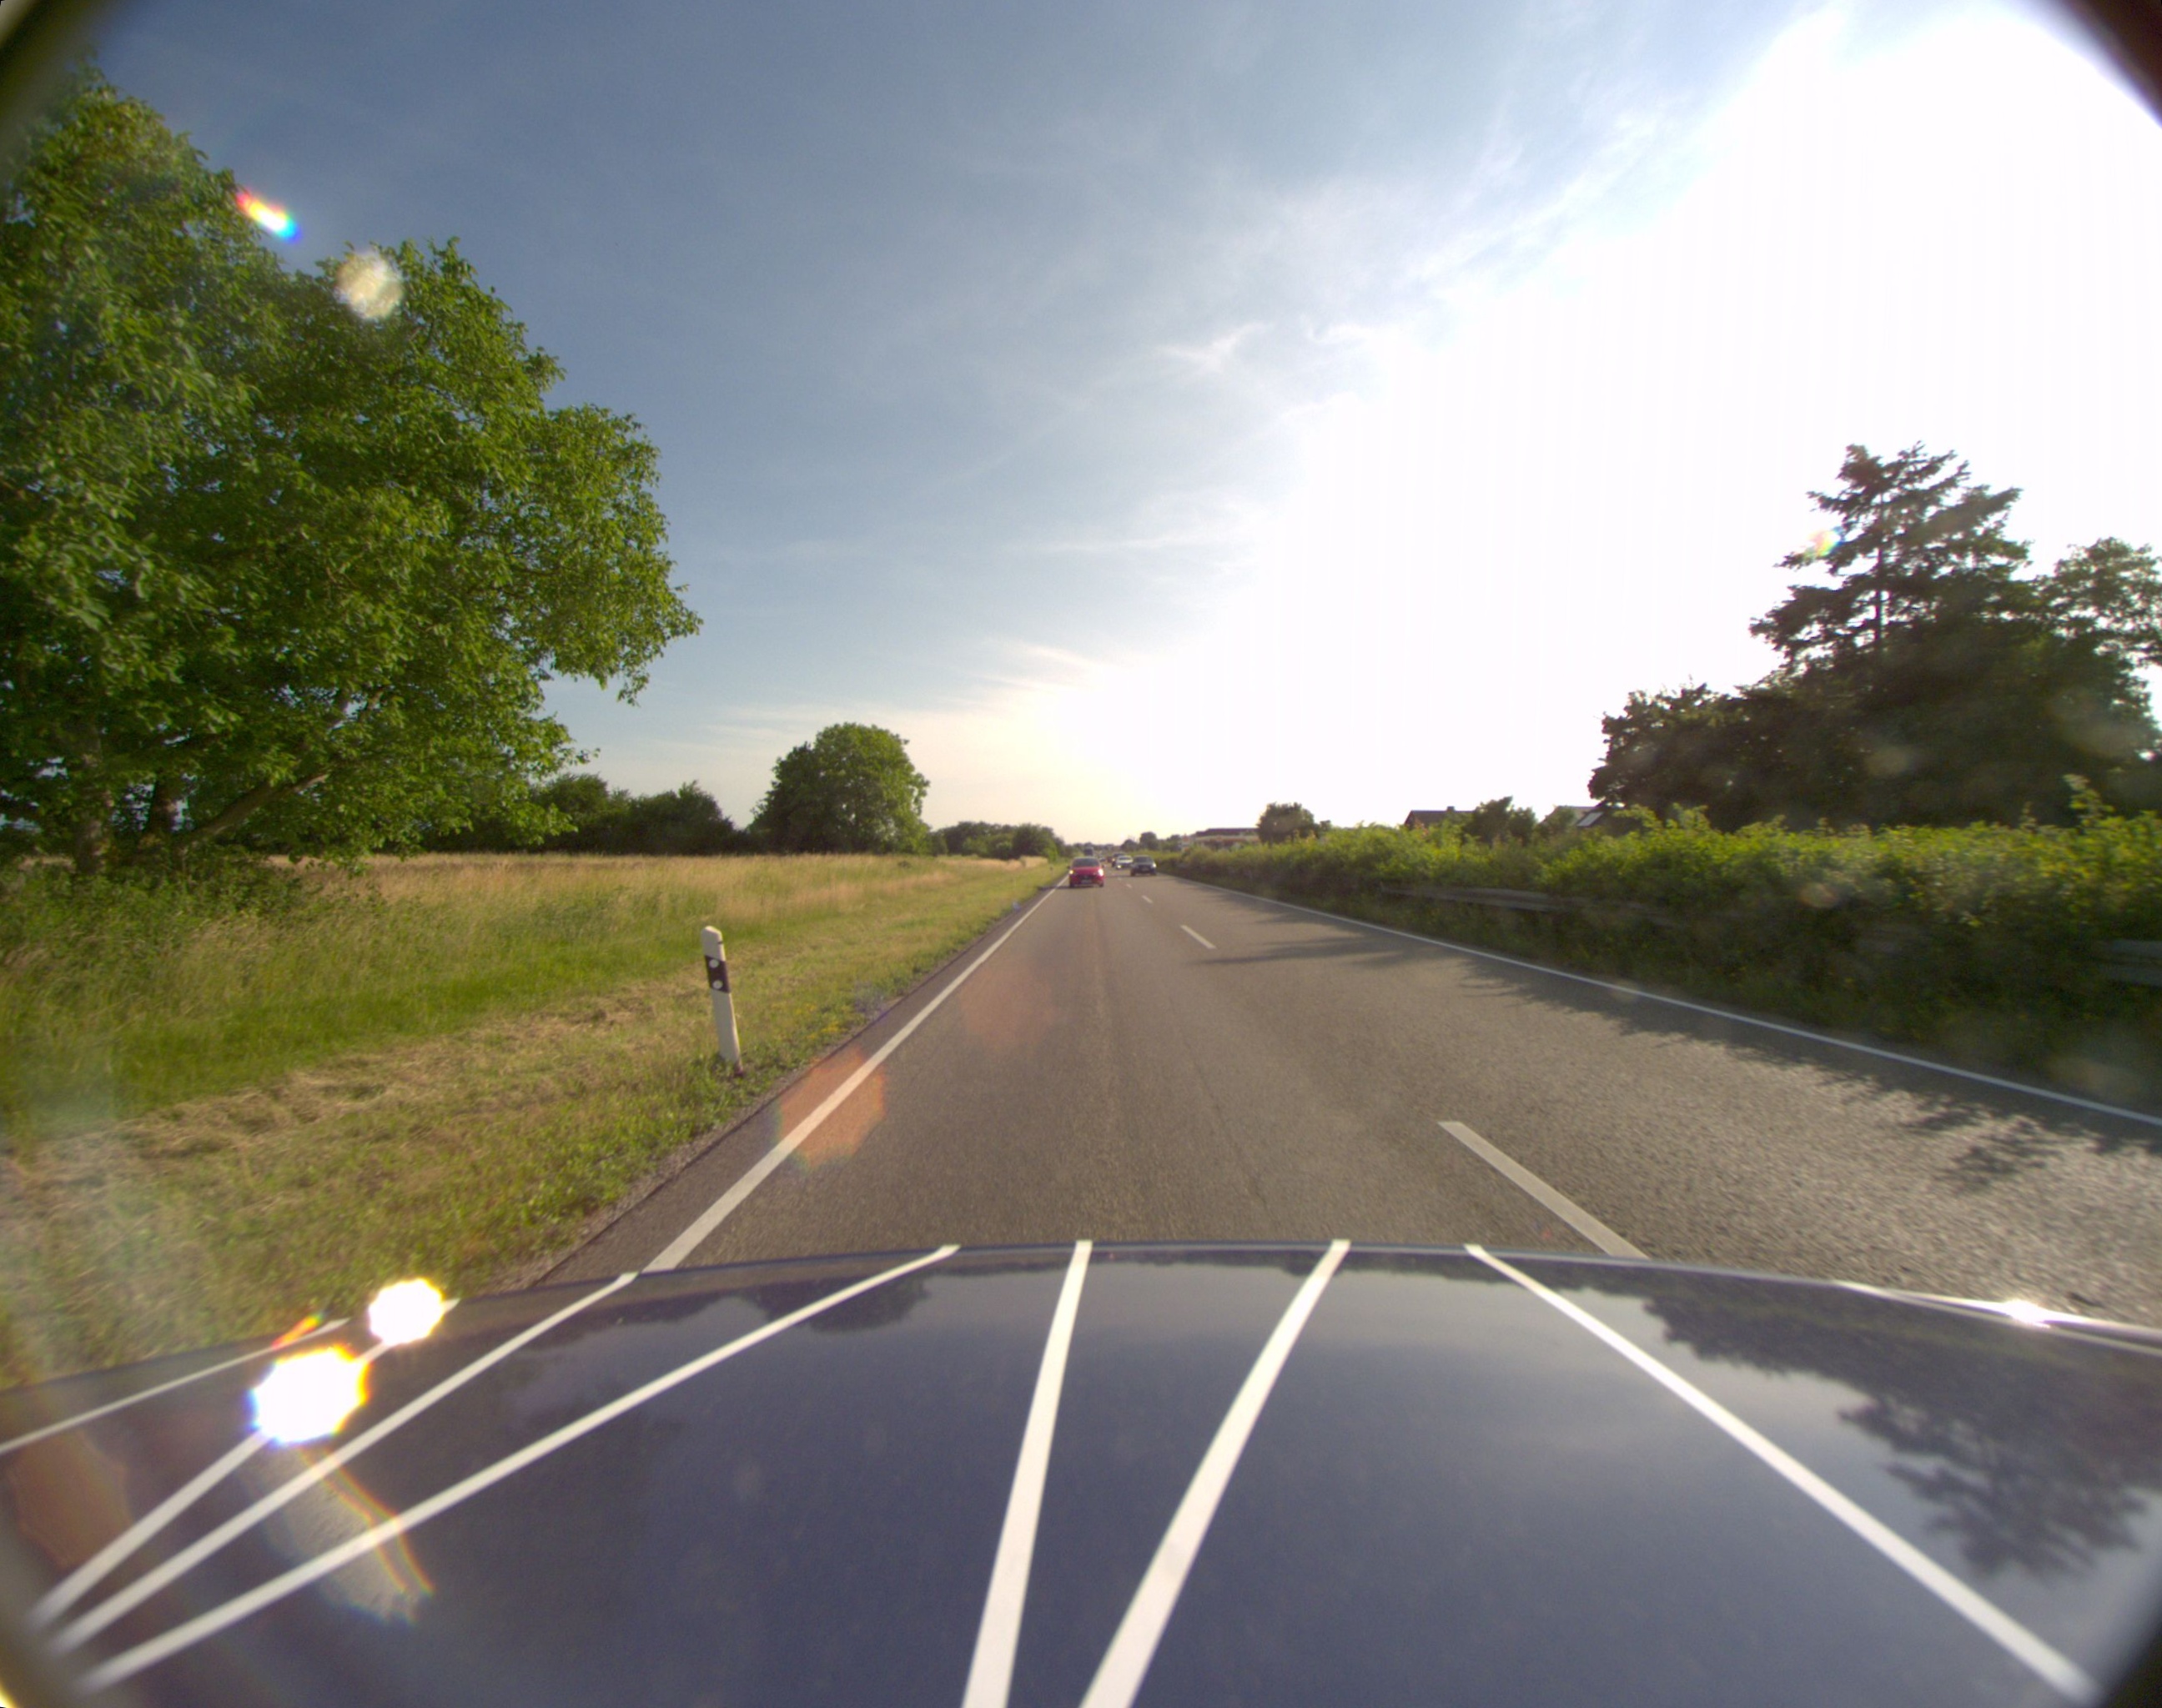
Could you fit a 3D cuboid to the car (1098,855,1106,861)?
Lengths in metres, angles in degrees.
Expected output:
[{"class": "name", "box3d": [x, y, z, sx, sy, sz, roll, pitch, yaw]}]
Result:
[{"class": "car", "box3d": [5.034, 0.945, 181.194, 1.998, 1.412, 4.000, -2, 1, 2]}]

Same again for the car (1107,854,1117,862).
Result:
[{"class": "car", "box3d": [6.130, 0.784, 151.916, 1.998, 1.412, 4.000, -2, 1, 2]}]

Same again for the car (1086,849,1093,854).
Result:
[{"class": "car", "box3d": [2.440, -0.630, 216.360, 1.998, 1.412, 4.000, -2, 1, 2]}]

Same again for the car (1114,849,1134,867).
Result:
[{"class": "car", "box3d": [4.564, 0.379, 81.201, 1.998, 1.762, 4.000, -2, 1, 2]}]

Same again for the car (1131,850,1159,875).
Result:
[{"class": "car", "box3d": [4.603, 0.602, 54.972, 1.693, 1.695, 4.000, -2, 1, 1]}]

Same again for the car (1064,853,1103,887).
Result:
[{"class": "car", "box3d": [0.177, 0.792, 38.750, 1.821, 1.565, 4.000, -2, 1, 2]}]
